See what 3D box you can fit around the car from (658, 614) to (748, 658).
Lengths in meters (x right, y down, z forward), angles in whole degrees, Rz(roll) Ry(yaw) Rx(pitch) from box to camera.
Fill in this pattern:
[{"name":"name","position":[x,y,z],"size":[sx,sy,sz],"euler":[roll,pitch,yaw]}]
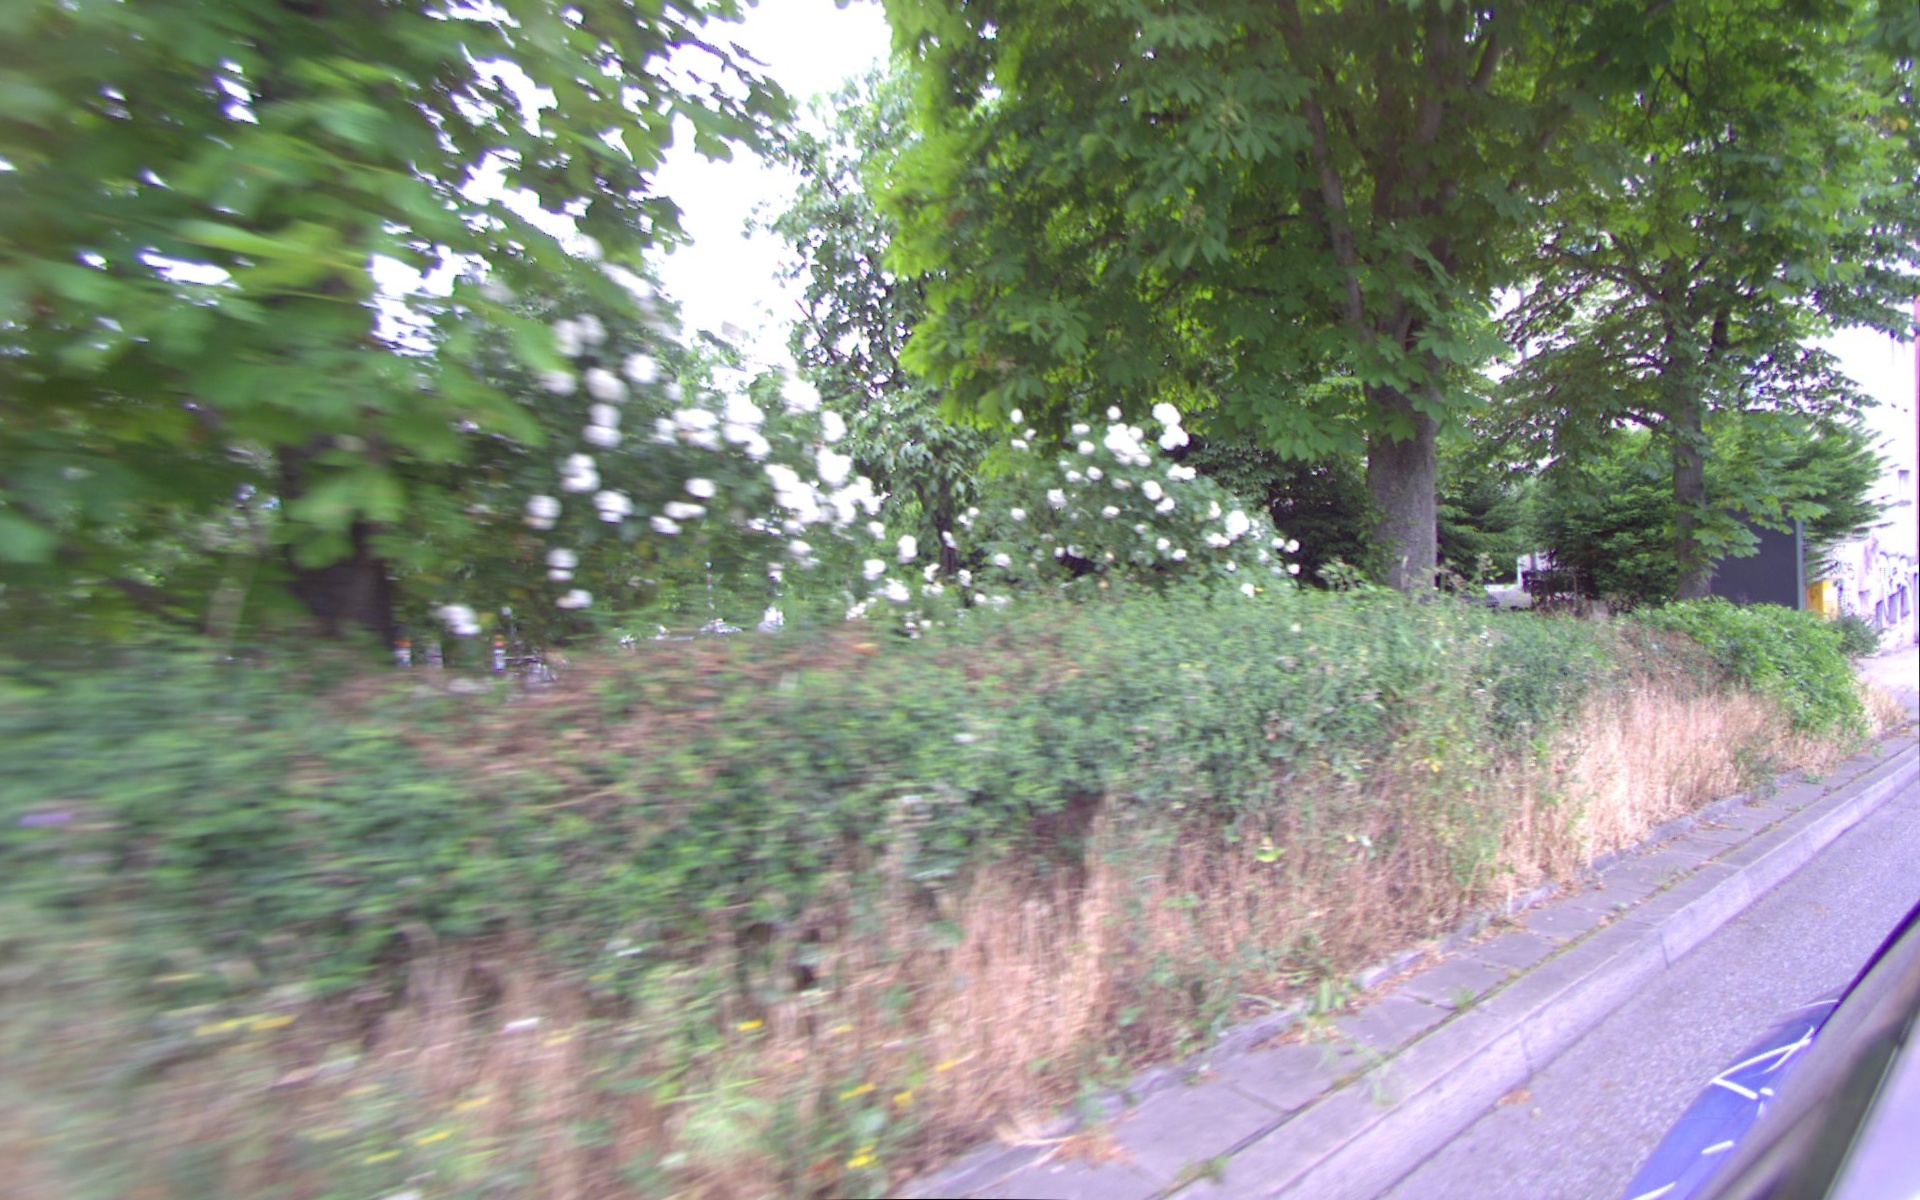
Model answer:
[{"name":"car","position":[-12.743,1.754,50.485],"size":[1.976,1.928,4.681],"euler":[-3,0,21]}]

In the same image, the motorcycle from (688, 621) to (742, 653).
[{"name":"motorcycle","position":[-9.068,1.358,37.548],"size":[0.748,1.046,2.034],"euler":[-3,0,29]}]

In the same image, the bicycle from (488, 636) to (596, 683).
[{"name":"bicycle","position":[-12.388,1.740,30.034],"size":[2.894,1.160,0.924],"euler":[-2,-1,-25]}]

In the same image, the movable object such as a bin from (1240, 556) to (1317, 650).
[{"name":"movable object such as a bin","position":[5.536,0.052,17.639],"size":[1.184,1.555,0.839],"euler":[-2,0,18]}]

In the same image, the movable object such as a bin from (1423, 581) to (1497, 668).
[{"name":"movable object such as a bin","position":[9.004,0.418,18.269],"size":[0.796,1.505,1.078],"euler":[1,2,4]}]

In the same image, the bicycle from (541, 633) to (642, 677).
[{"name":"bicycle","position":[-11.636,1.717,31.968],"size":[2.894,1.160,0.924],"euler":[-2,-1,-25]}]

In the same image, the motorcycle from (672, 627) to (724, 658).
[{"name":"motorcycle","position":[-9.829,1.574,38.102],"size":[0.747,1.046,2.038],"euler":[-3,0,25]}]

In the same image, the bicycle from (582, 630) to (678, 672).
[{"name":"bicycle","position":[-10.894,1.665,33.457],"size":[2.894,1.160,0.924],"euler":[-2,-1,-25]}]

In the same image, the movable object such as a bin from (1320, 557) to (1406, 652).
[{"name":"movable object such as a bin","position":[6.769,0.068,17.057],"size":[1.241,1.555,0.840],"euler":[0,0,16]}]

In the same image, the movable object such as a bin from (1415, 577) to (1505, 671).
[{"name":"movable object such as a bin","position":[8.508,0.393,17.260],"size":[1.129,1.554,0.843],"euler":[-1,2,4]}]
